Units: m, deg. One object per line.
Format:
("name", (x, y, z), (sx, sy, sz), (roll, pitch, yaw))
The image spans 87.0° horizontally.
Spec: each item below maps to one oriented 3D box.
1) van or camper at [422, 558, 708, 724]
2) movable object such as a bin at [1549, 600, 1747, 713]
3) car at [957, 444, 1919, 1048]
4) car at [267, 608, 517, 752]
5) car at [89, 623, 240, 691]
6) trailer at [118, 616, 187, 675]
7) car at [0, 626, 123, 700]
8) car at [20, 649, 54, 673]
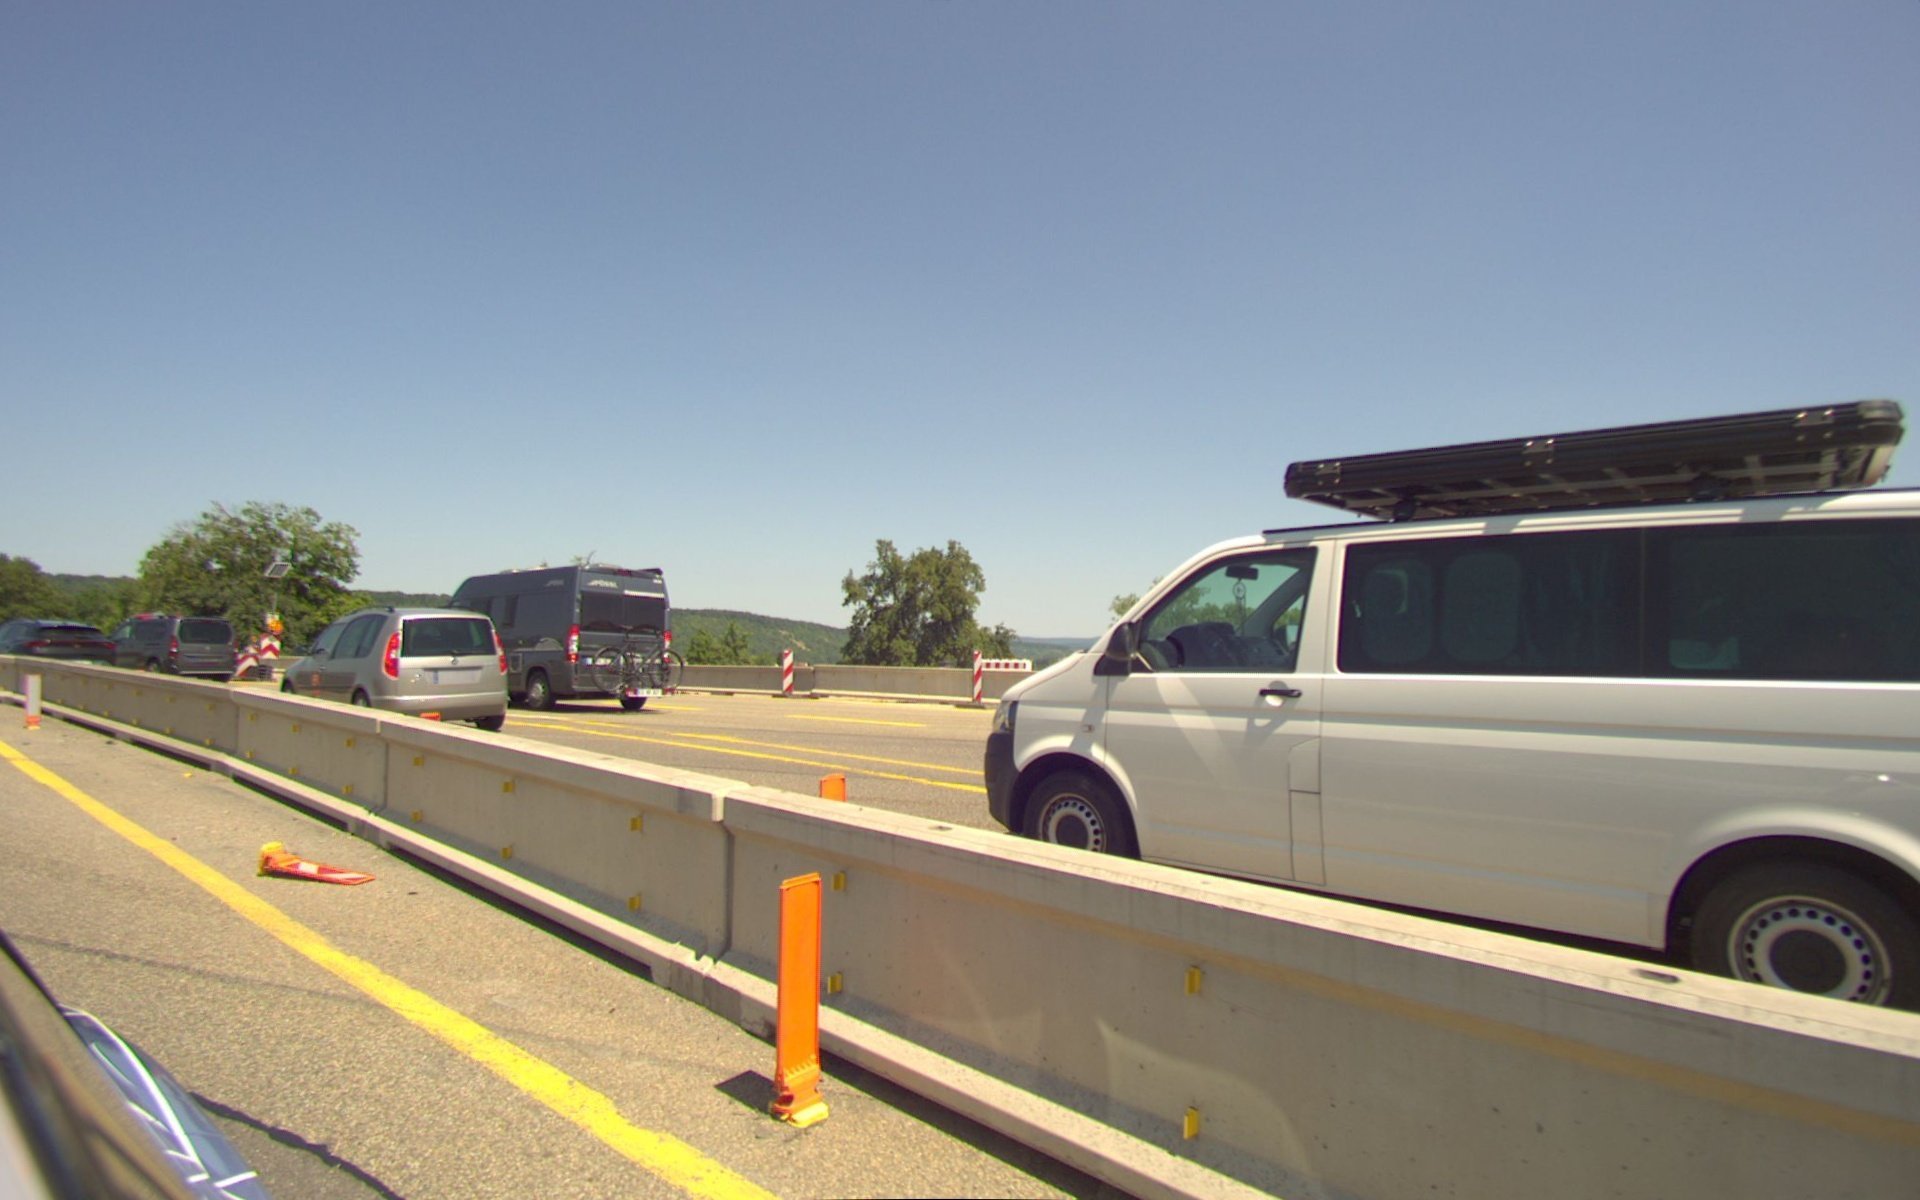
("van or camper", (-7.407, 0.762, 18.541), (6.300, 2.561, 2.077), (-2, -4, 41))
("movable object such as a bin", (18.225, 1.428, 26.940), (3.304, 2.748, 2.889), (-1, -1, -19))
("car", (2.523, 0.490, 4.752), (5.053, 1.887, 1.854), (-2, -1, 39))
("car", (-7.695, 0.973, 13.542), (4.228, 1.628, 1.737), (-2, -2, 43))
("car", (-22.234, 1.582, 28.237), (4.694, 1.778, 1.761), (-1, -5, 32))
("trailer", (-62.297, 3.649, 77.903), (3.111, 4.143, 14.180), (4, -6, -42))
("car", (-20.353, 1.376, 22.404), (4.461, 1.493, 1.674), (-2, -5, 36))
("car", (-77.429, 5.158, 84.927), (1.894, 1.956, 5.100), (3, -6, -41))
